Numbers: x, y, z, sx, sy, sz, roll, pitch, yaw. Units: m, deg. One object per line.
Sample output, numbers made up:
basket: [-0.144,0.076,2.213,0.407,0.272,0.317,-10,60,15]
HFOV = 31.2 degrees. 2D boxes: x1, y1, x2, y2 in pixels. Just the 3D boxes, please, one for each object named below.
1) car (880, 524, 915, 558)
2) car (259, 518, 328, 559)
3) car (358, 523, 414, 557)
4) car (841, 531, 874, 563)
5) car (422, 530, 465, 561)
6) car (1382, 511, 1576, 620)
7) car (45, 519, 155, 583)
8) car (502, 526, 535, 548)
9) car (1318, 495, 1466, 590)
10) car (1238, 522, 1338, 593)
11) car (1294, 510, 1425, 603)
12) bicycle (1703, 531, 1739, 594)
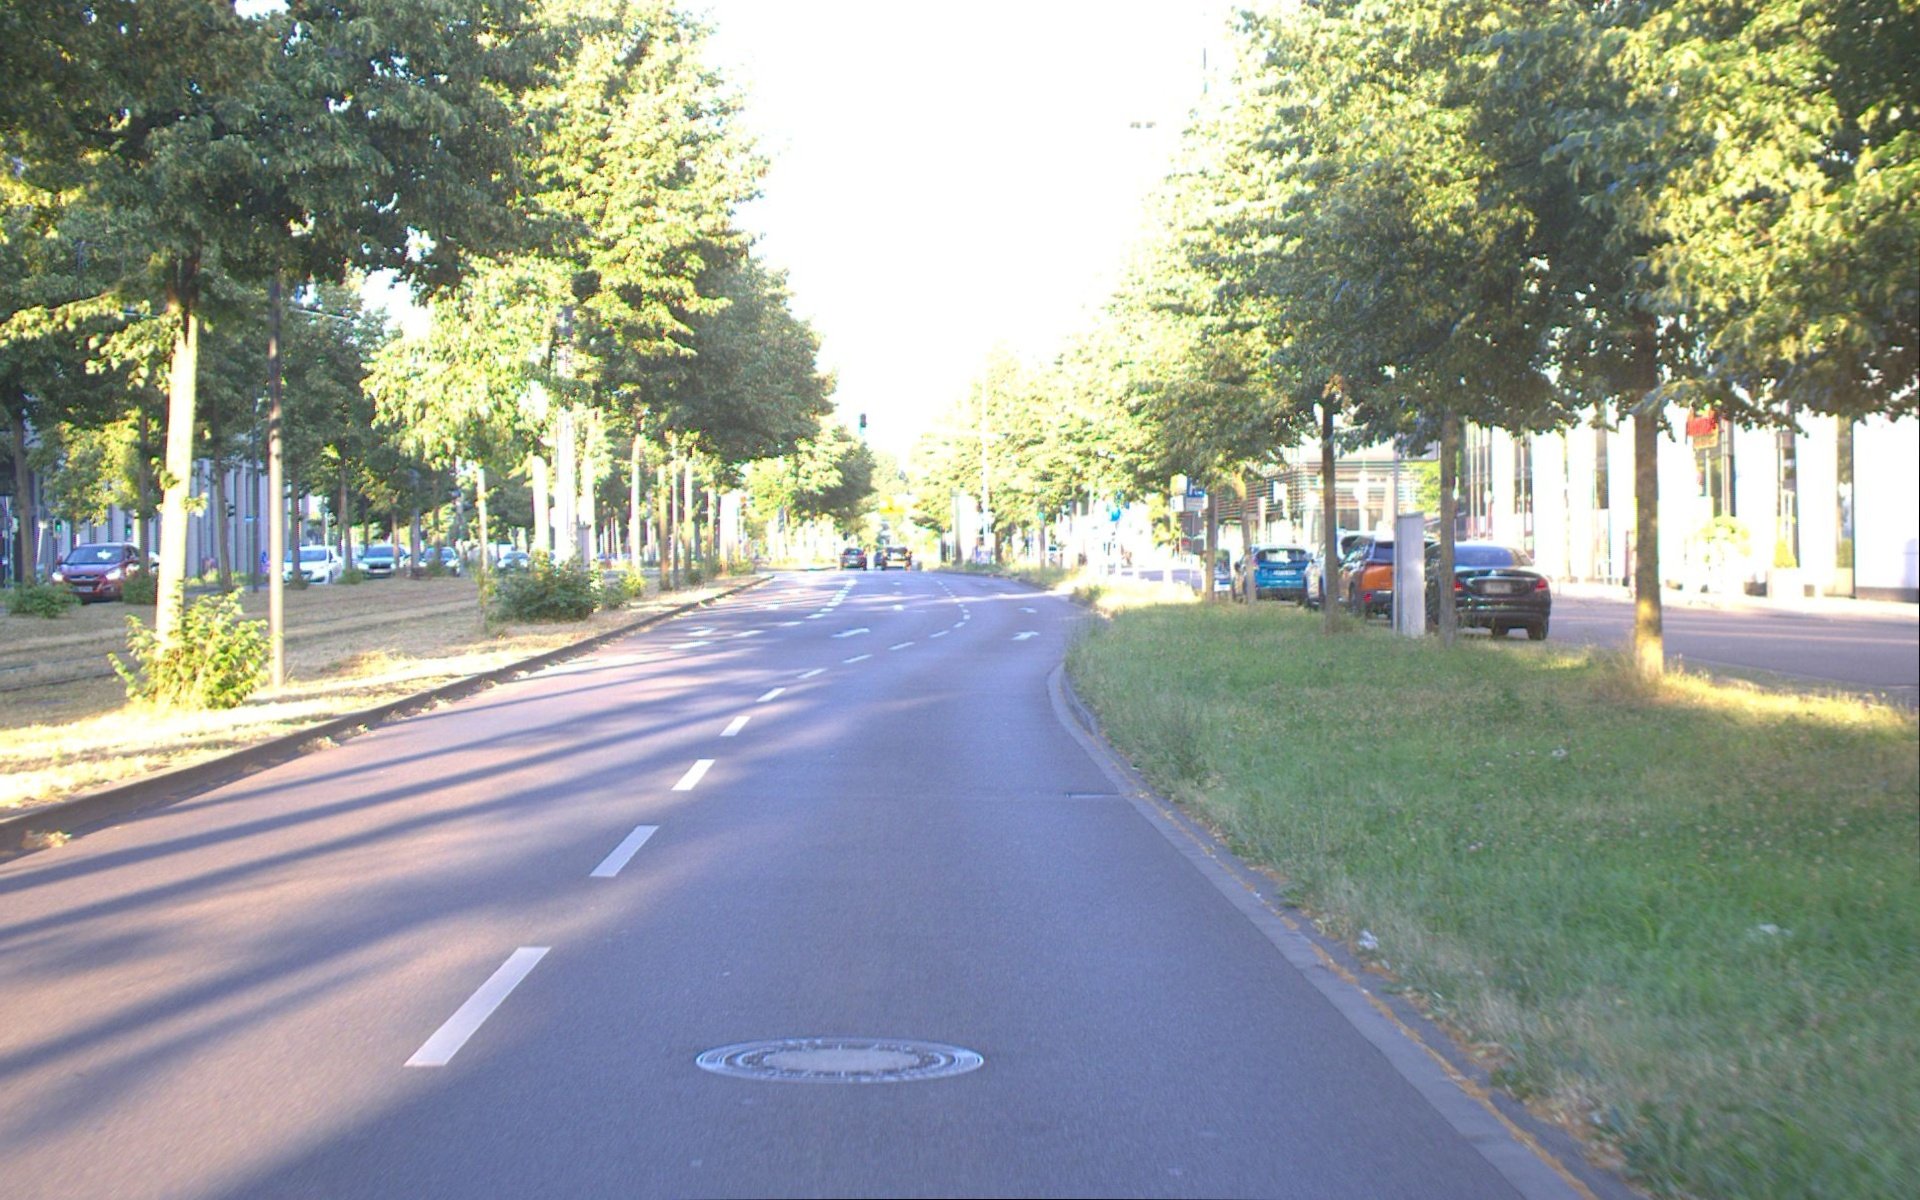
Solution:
car: [-3.749,-3.540,205.916,1.993,2.007,4.001,0,2,-2]
car: [-22.586,-2.098,116.642,1.657,1.327,4.531,-1,1,-3]
car: [-22.865,-2.414,137.085,1.657,1.327,4.742,-1,1,-3]
car: [-6.603,-3.437,221.028,2.087,2.007,4.001,0,2,-2]
car: [-24.081,-2.569,160.391,1.761,1.421,3.549,-1,1,-6]
car: [7.728,-0.550,51.658,1.943,1.543,4.813,-1,1,-3]
car: [-21.643,-1.252,86.639,1.885,1.572,4.183,-1,1,-3]
car: [-26.782,-3.829,208.597,1.657,1.327,4.585,0,1,-3]
car: [7.372,-0.994,59.058,1.854,1.524,4.483,1,1,-1]
car: [7.377,-0.977,77.594,1.724,1.524,4.269,1,1,-1]
car: [7.772,-0.872,67.288,1.951,1.708,5.159,1,1,0]
bicycle: [14.453,-0.722,65.326,0.571,1.120,1.833,-2,2,10]
